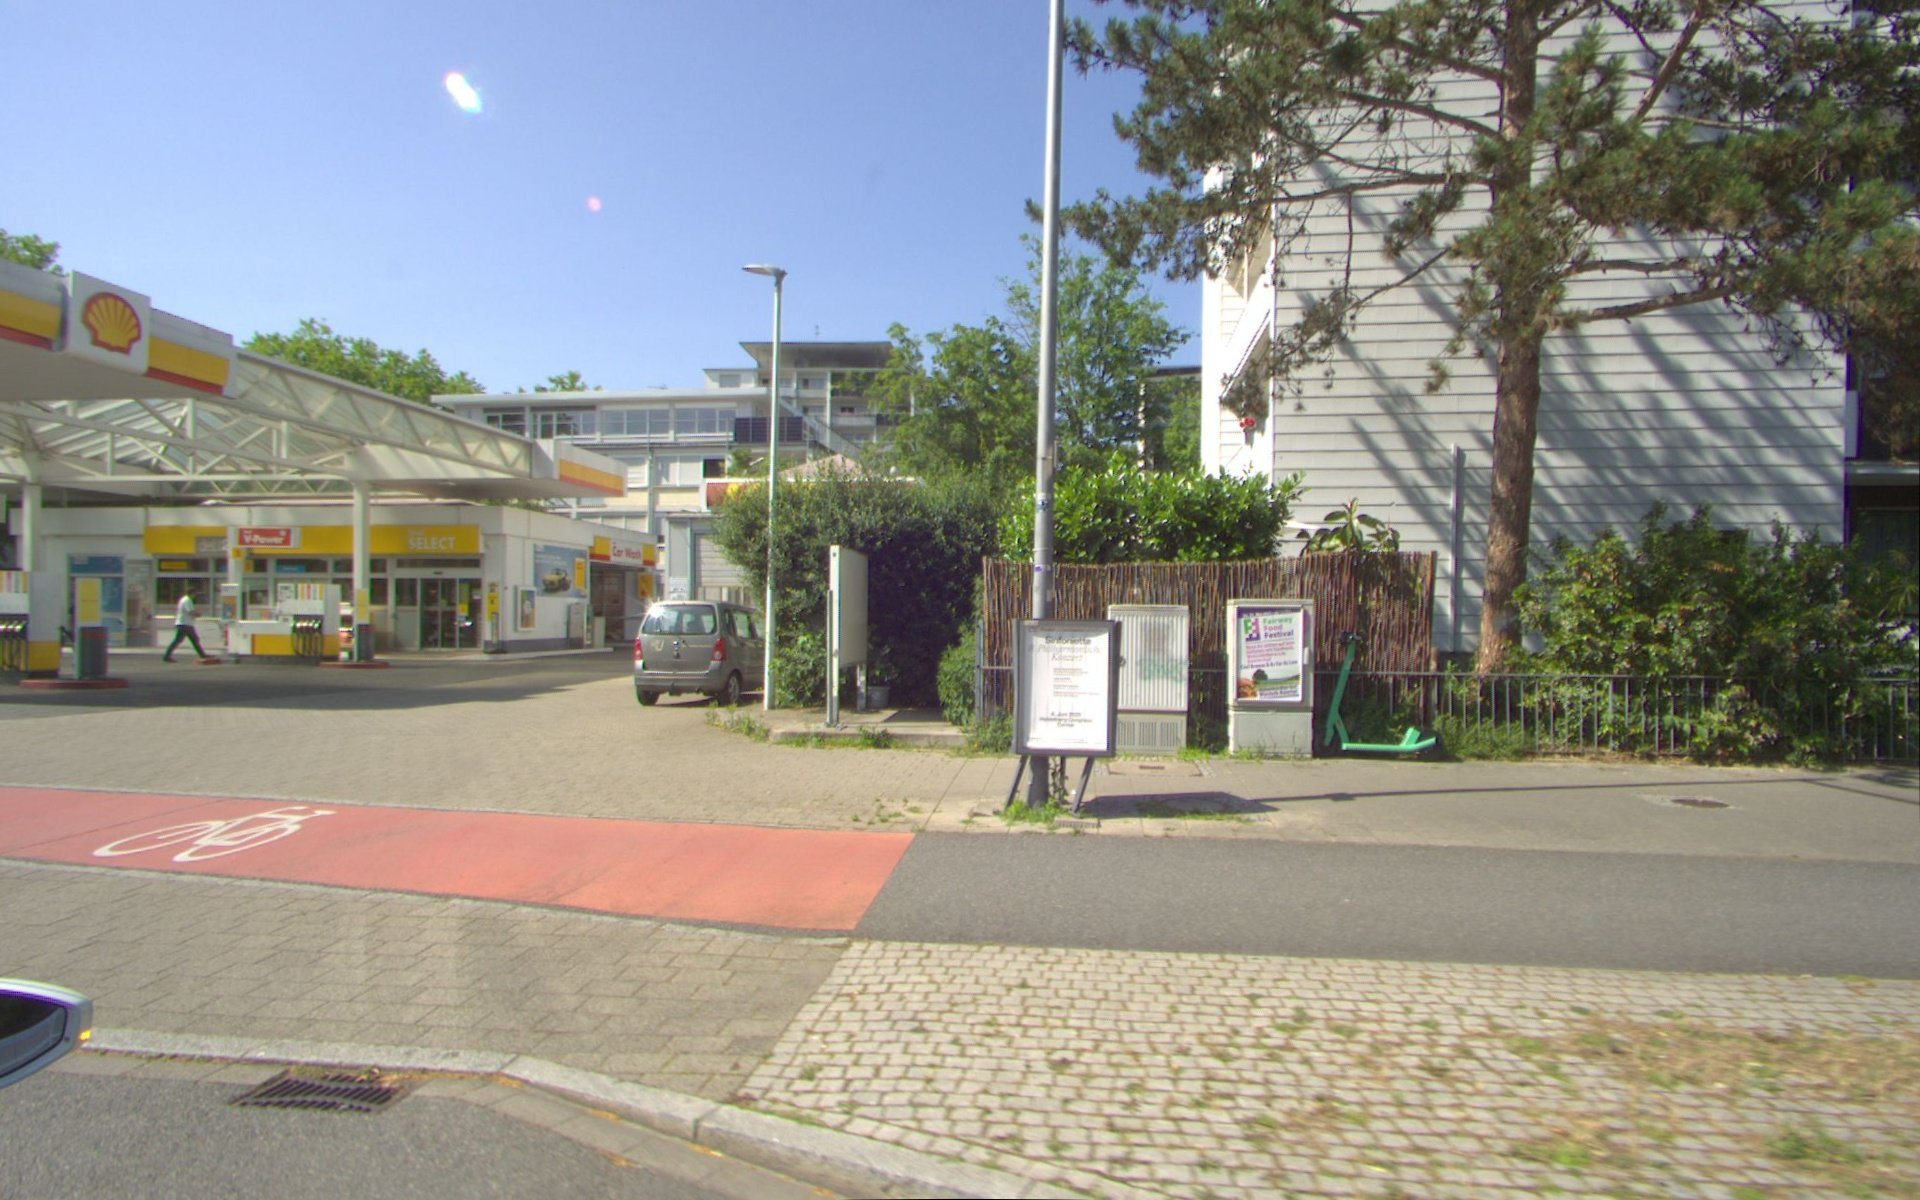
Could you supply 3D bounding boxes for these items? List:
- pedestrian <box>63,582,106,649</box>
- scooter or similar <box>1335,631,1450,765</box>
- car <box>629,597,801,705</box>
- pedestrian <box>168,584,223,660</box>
[{"bbox_3d":[-24.794,0.439,28.374,0.619,1.845,0.675,1,0,14],"label":"pedestrian"},{"bbox_3d":[3.960,0.883,9.201,0.940,1.181,0.231,1,0,15],"label":"scooter or similar"},{"bbox_3d":[-4.007,0.813,17.020,1.559,1.616,3.833,1,-1,7],"label":"car"},{"bbox_3d":[-19.219,0.561,25.190,0.843,1.861,0.744,1,0,-14],"label":"pedestrian"}]
